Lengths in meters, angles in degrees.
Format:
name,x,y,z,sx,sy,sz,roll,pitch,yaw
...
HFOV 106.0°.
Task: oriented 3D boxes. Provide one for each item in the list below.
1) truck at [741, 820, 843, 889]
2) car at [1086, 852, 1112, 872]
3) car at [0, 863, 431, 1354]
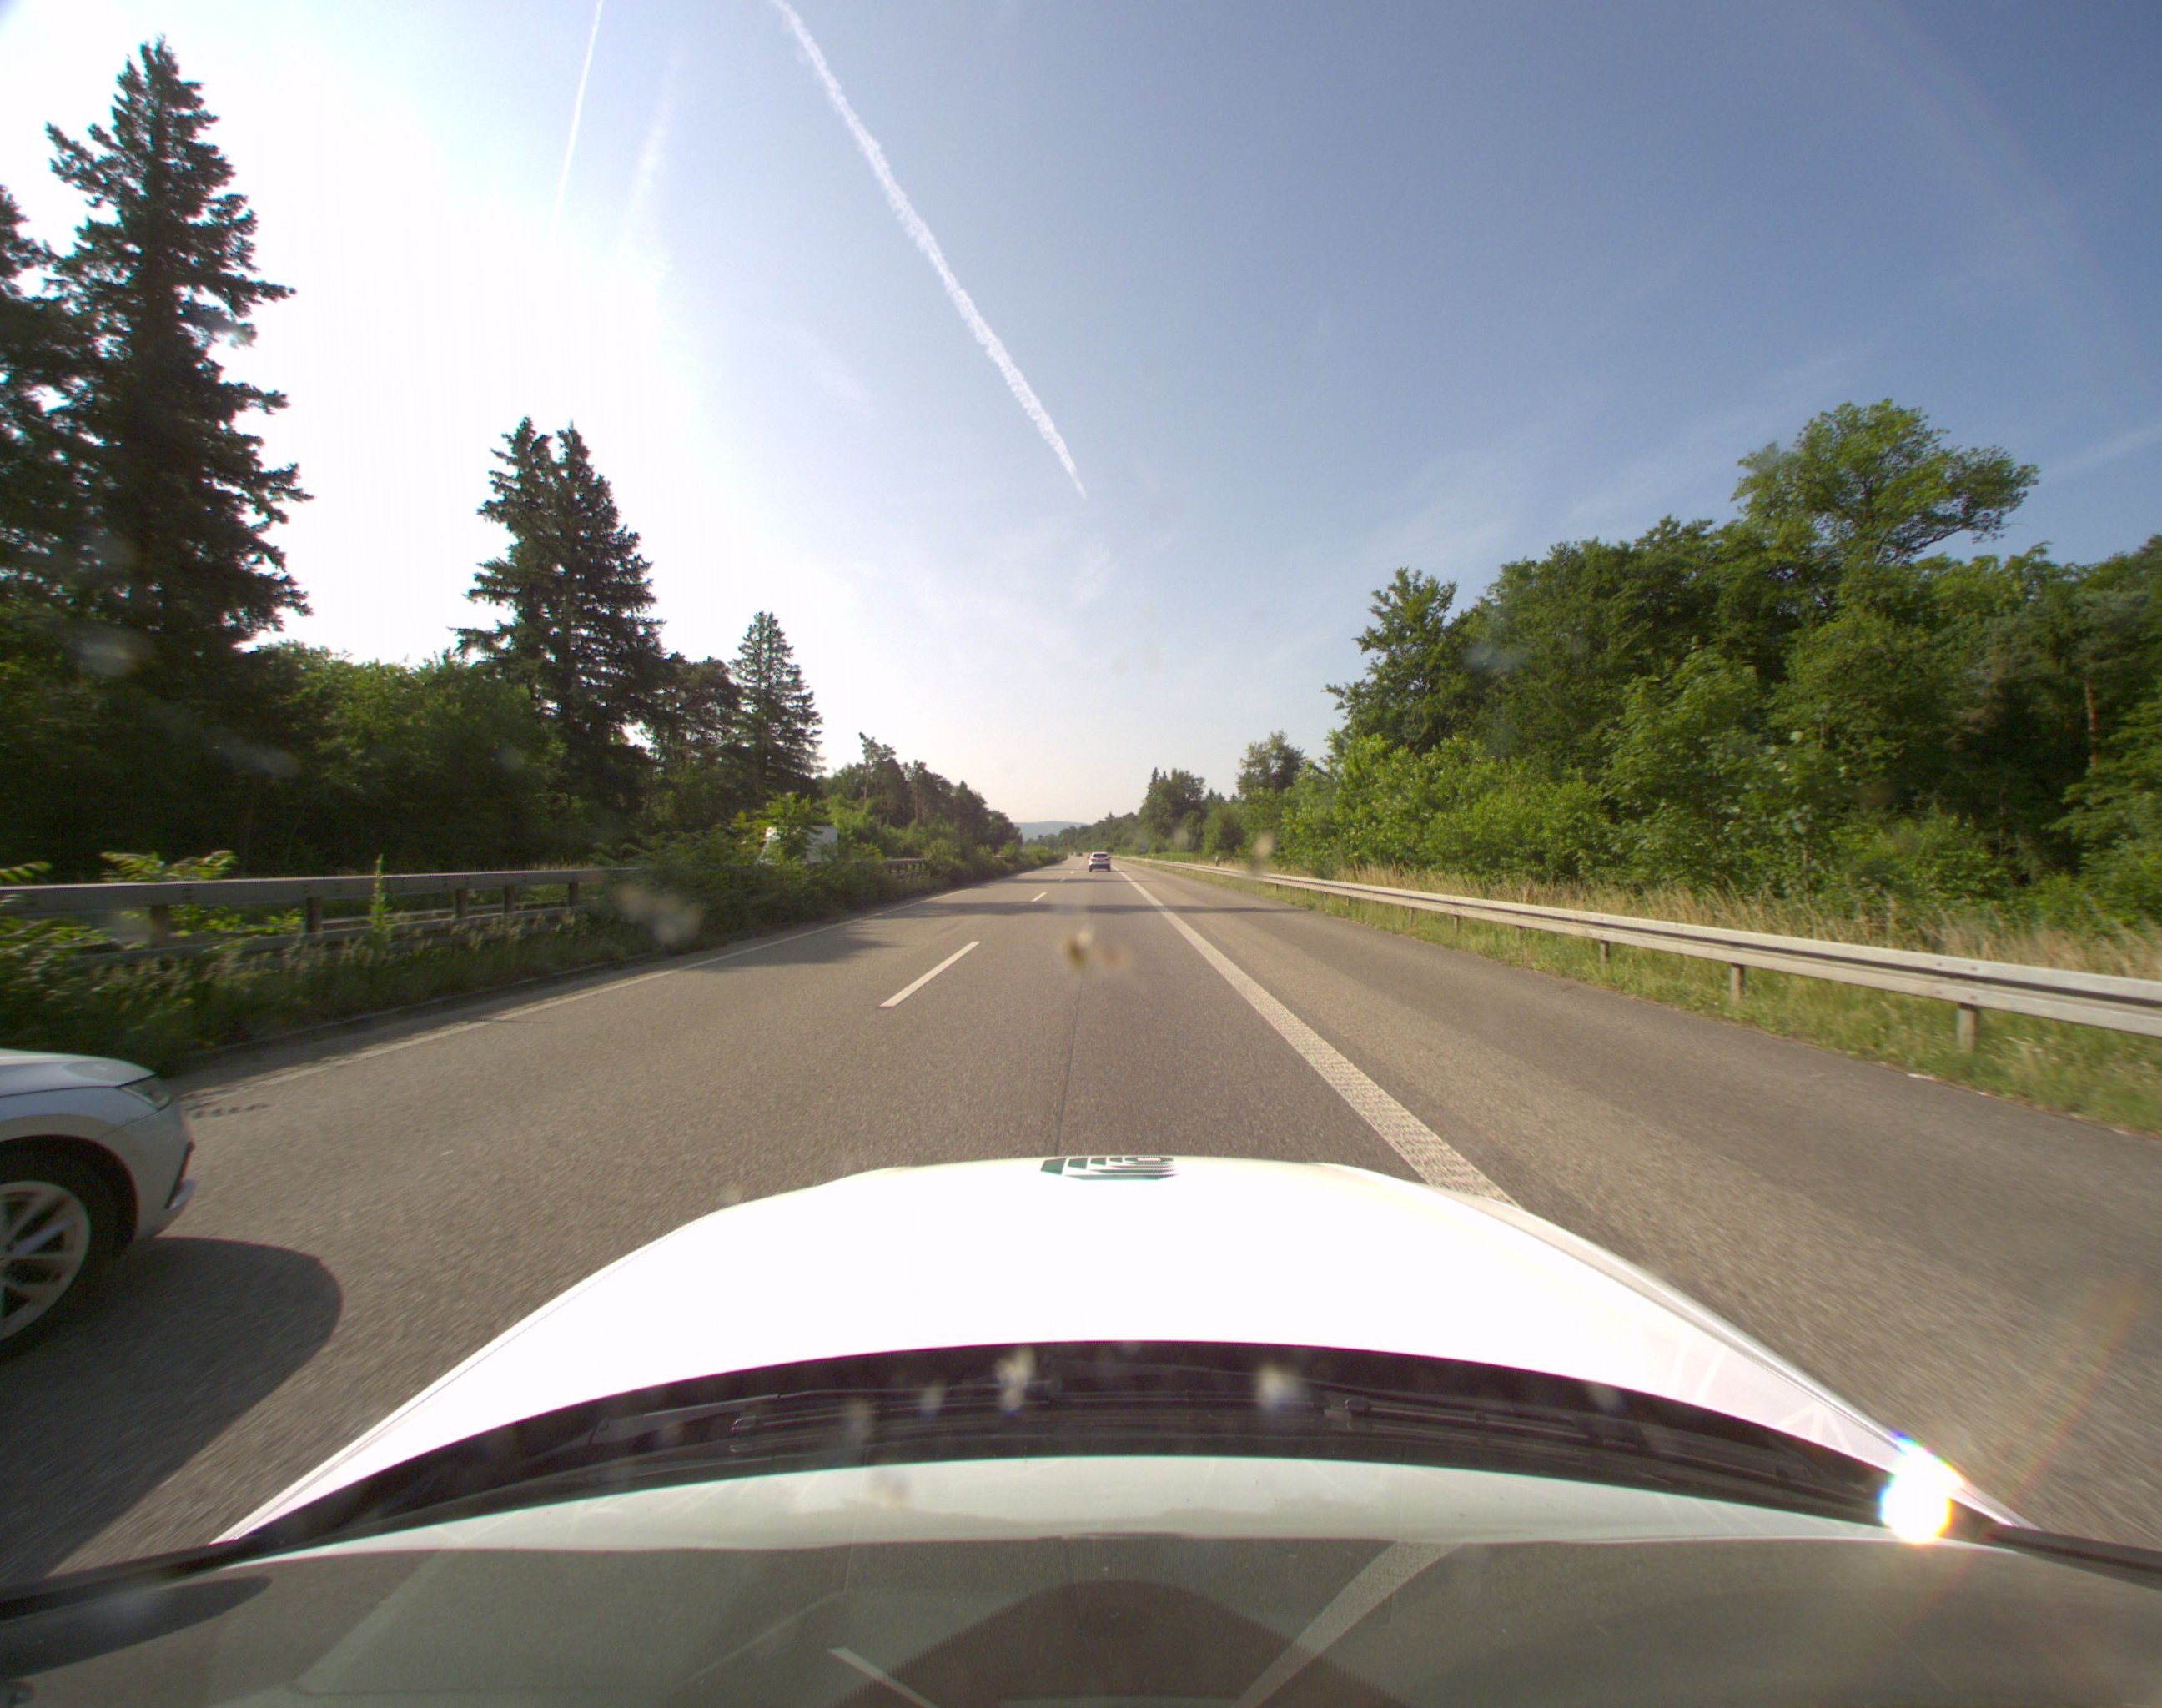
name,x,y,z,sx,sy,sz,roll,pitch,yaw
truck,-14.687,0.005,42.075,2.453,3.176,7.229,-2,0,1
car,1.475,0.617,67.871,1.869,1.586,3.996,1,0,-3
car,-4.171,0.800,1.351,1.785,1.438,5.281,-1,0,2
